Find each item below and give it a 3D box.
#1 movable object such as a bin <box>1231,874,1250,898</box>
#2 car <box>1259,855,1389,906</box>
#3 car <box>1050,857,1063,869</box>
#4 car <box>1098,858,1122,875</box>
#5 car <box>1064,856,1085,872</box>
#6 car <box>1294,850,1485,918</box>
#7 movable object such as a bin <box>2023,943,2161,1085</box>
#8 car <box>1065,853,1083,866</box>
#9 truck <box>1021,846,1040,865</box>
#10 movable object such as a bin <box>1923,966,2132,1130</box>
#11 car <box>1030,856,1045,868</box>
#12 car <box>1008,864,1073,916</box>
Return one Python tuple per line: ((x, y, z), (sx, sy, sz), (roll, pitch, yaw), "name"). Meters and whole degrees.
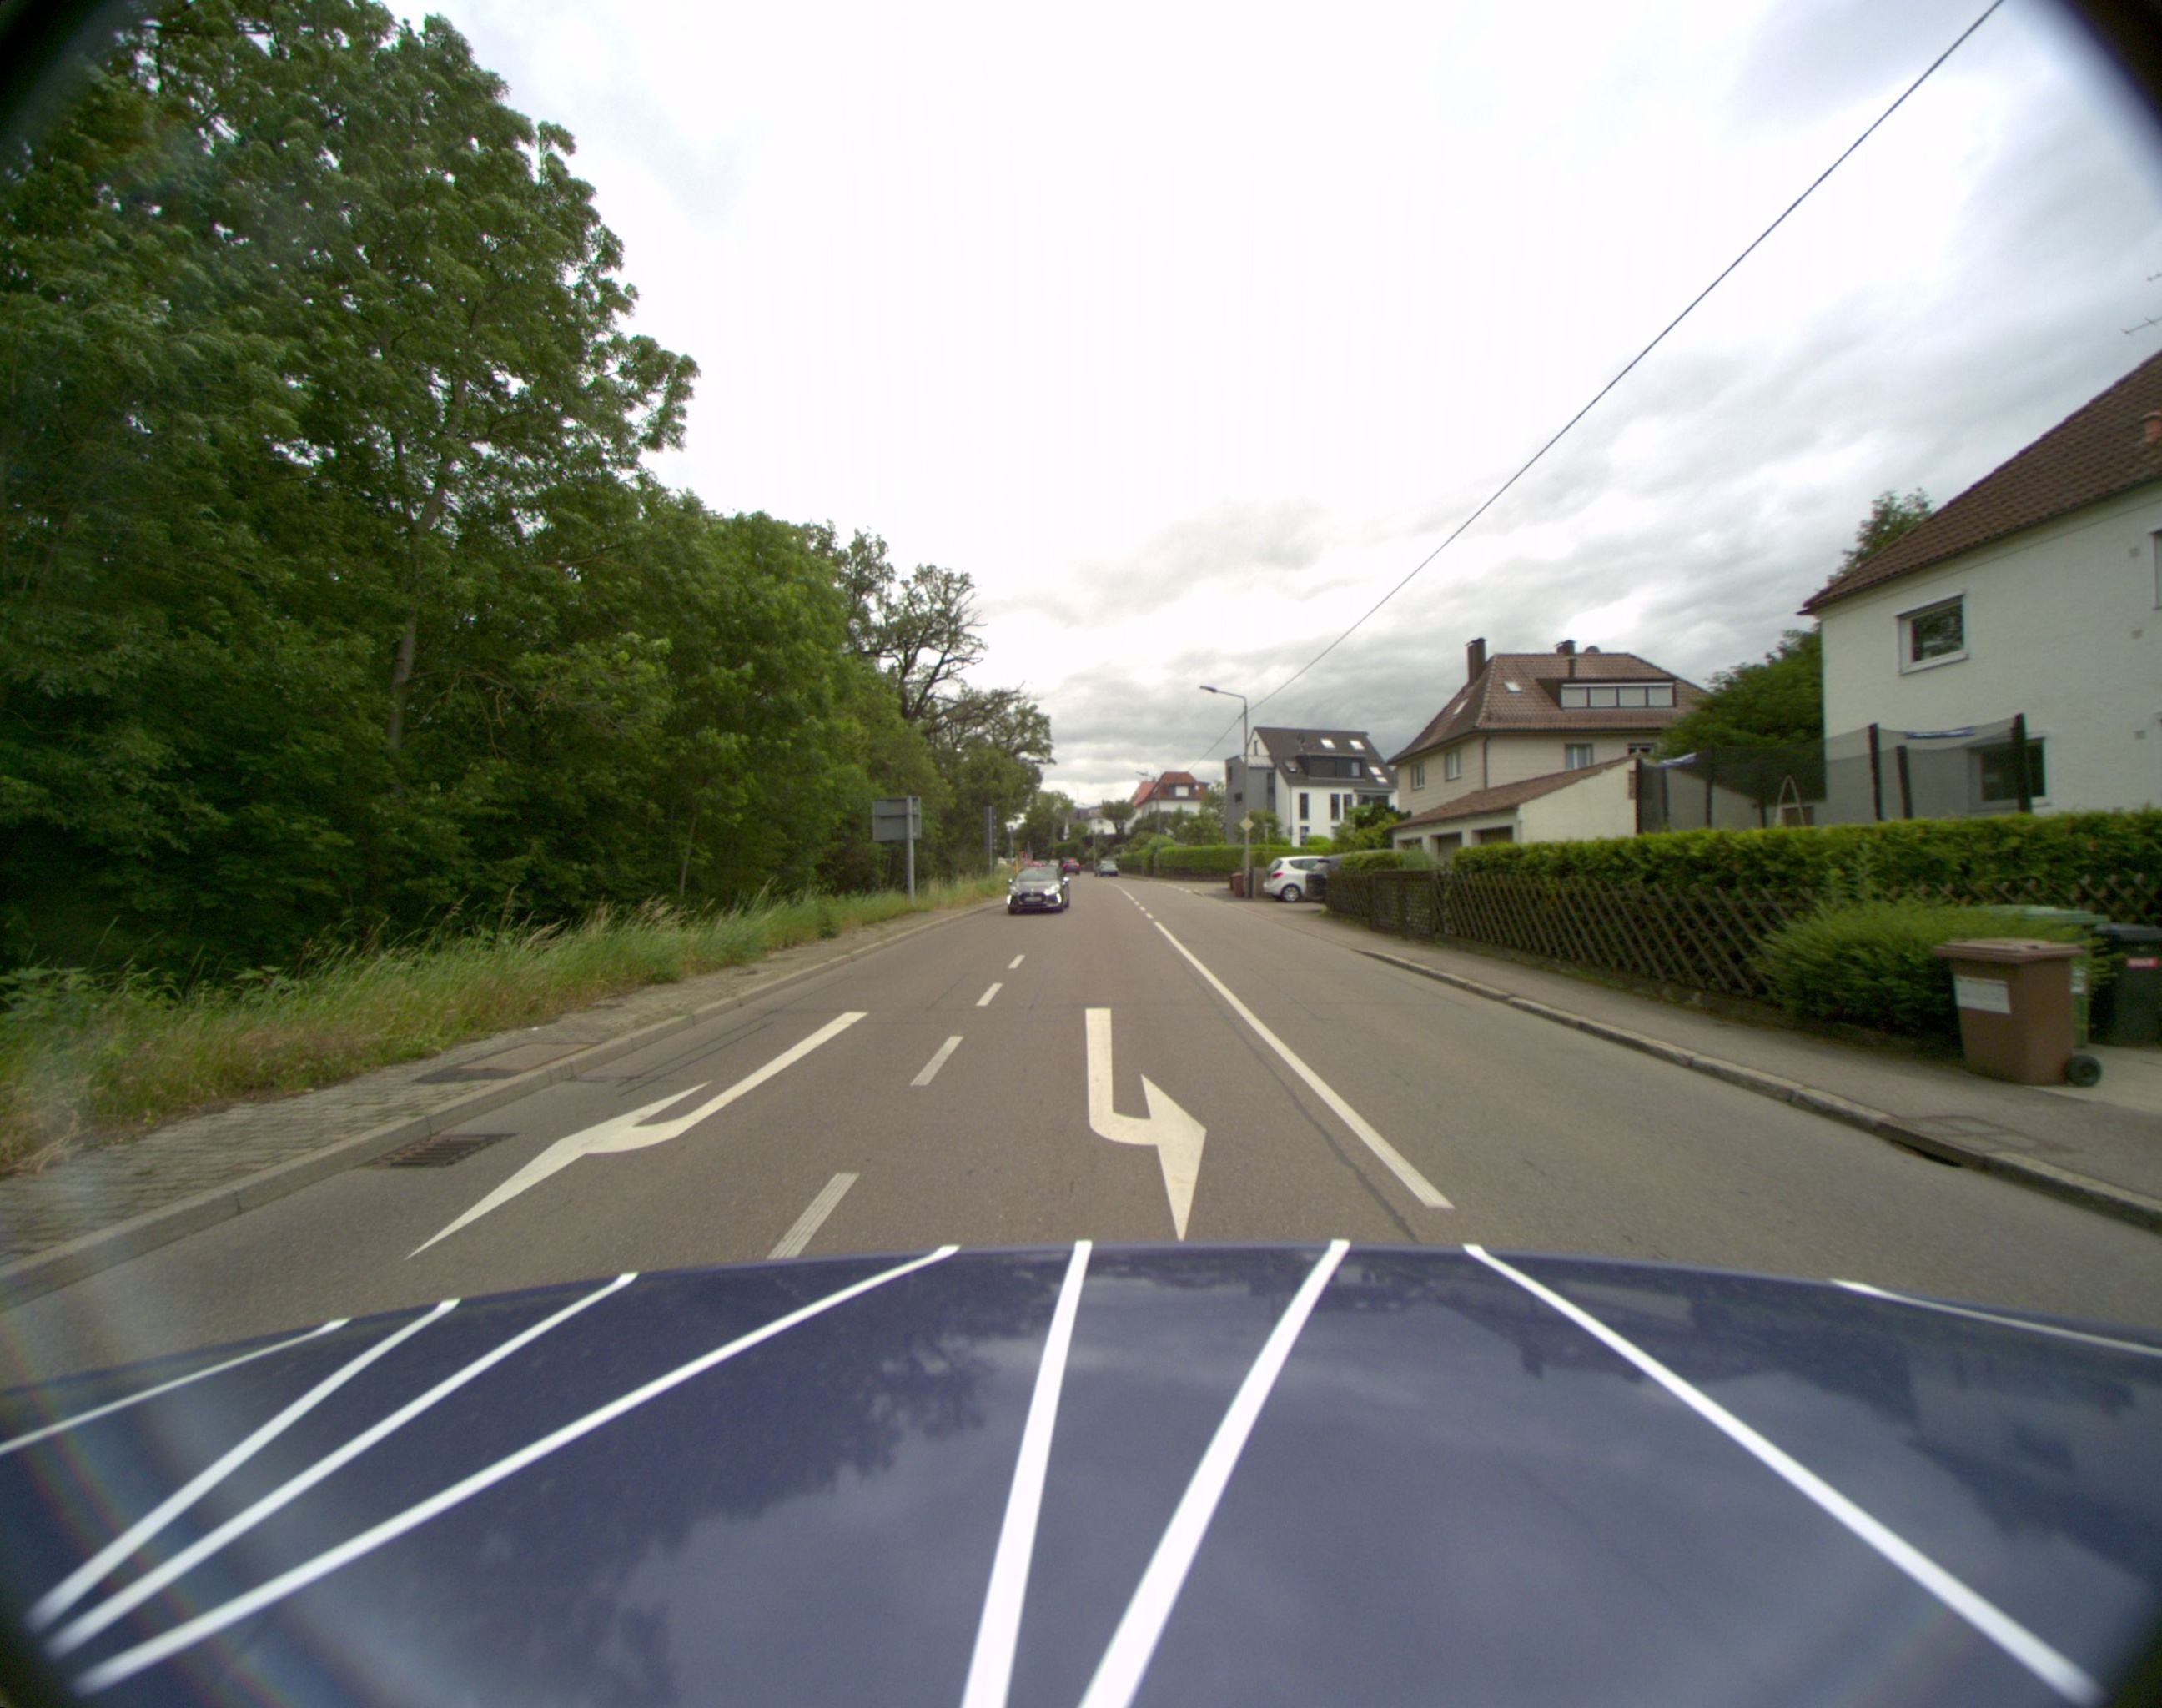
((6.342, 1.272, 30.166), (0.689, 0.948, 0.572), (0, 0, 16), "movable object such as a bin")
((8.568, 0.912, 27.022), (3.997, 1.584, 1.718), (-3, 0, 1), "car")
((-3.567, 1.283, 109.973), (1.832, 1.665, 3.998), (0, 1, -3), "car")
((2.725, 1.186, 72.661), (1.840, 1.514, 3.998), (0, 0, -5), "car")
((-0.708, 1.080, 82.328), (1.819, 1.590, 3.954), (-1, 0, -7), "car")
((8.721, 0.834, 21.765), (4.682, 1.660, 1.882), (-3, 0, 0), "car")
((7.675, 1.173, 5.672), (0.634, 0.947, 0.512), (0, 0, 4), "movable object such as a bin")
((-0.939, 0.726, 96.700), (1.876, 1.569, 3.997), (0, 0, -7), "car")
((-9.616, 0.257, 144.278), (3.008, 3.618, 7.083), (0, 0, -8), "truck")
((6.129, 1.230, 4.961), (0.634, 0.907, 0.561), (-1, 0, 14), "movable object such as a bin")
((-6.245, 1.120, 108.584), (1.999, 1.749, 3.999), (0, 0, -1), "car")
((-1.246, 1.101, 24.633), (1.730, 1.449, 3.855), (-1, 0, 2), "car")
